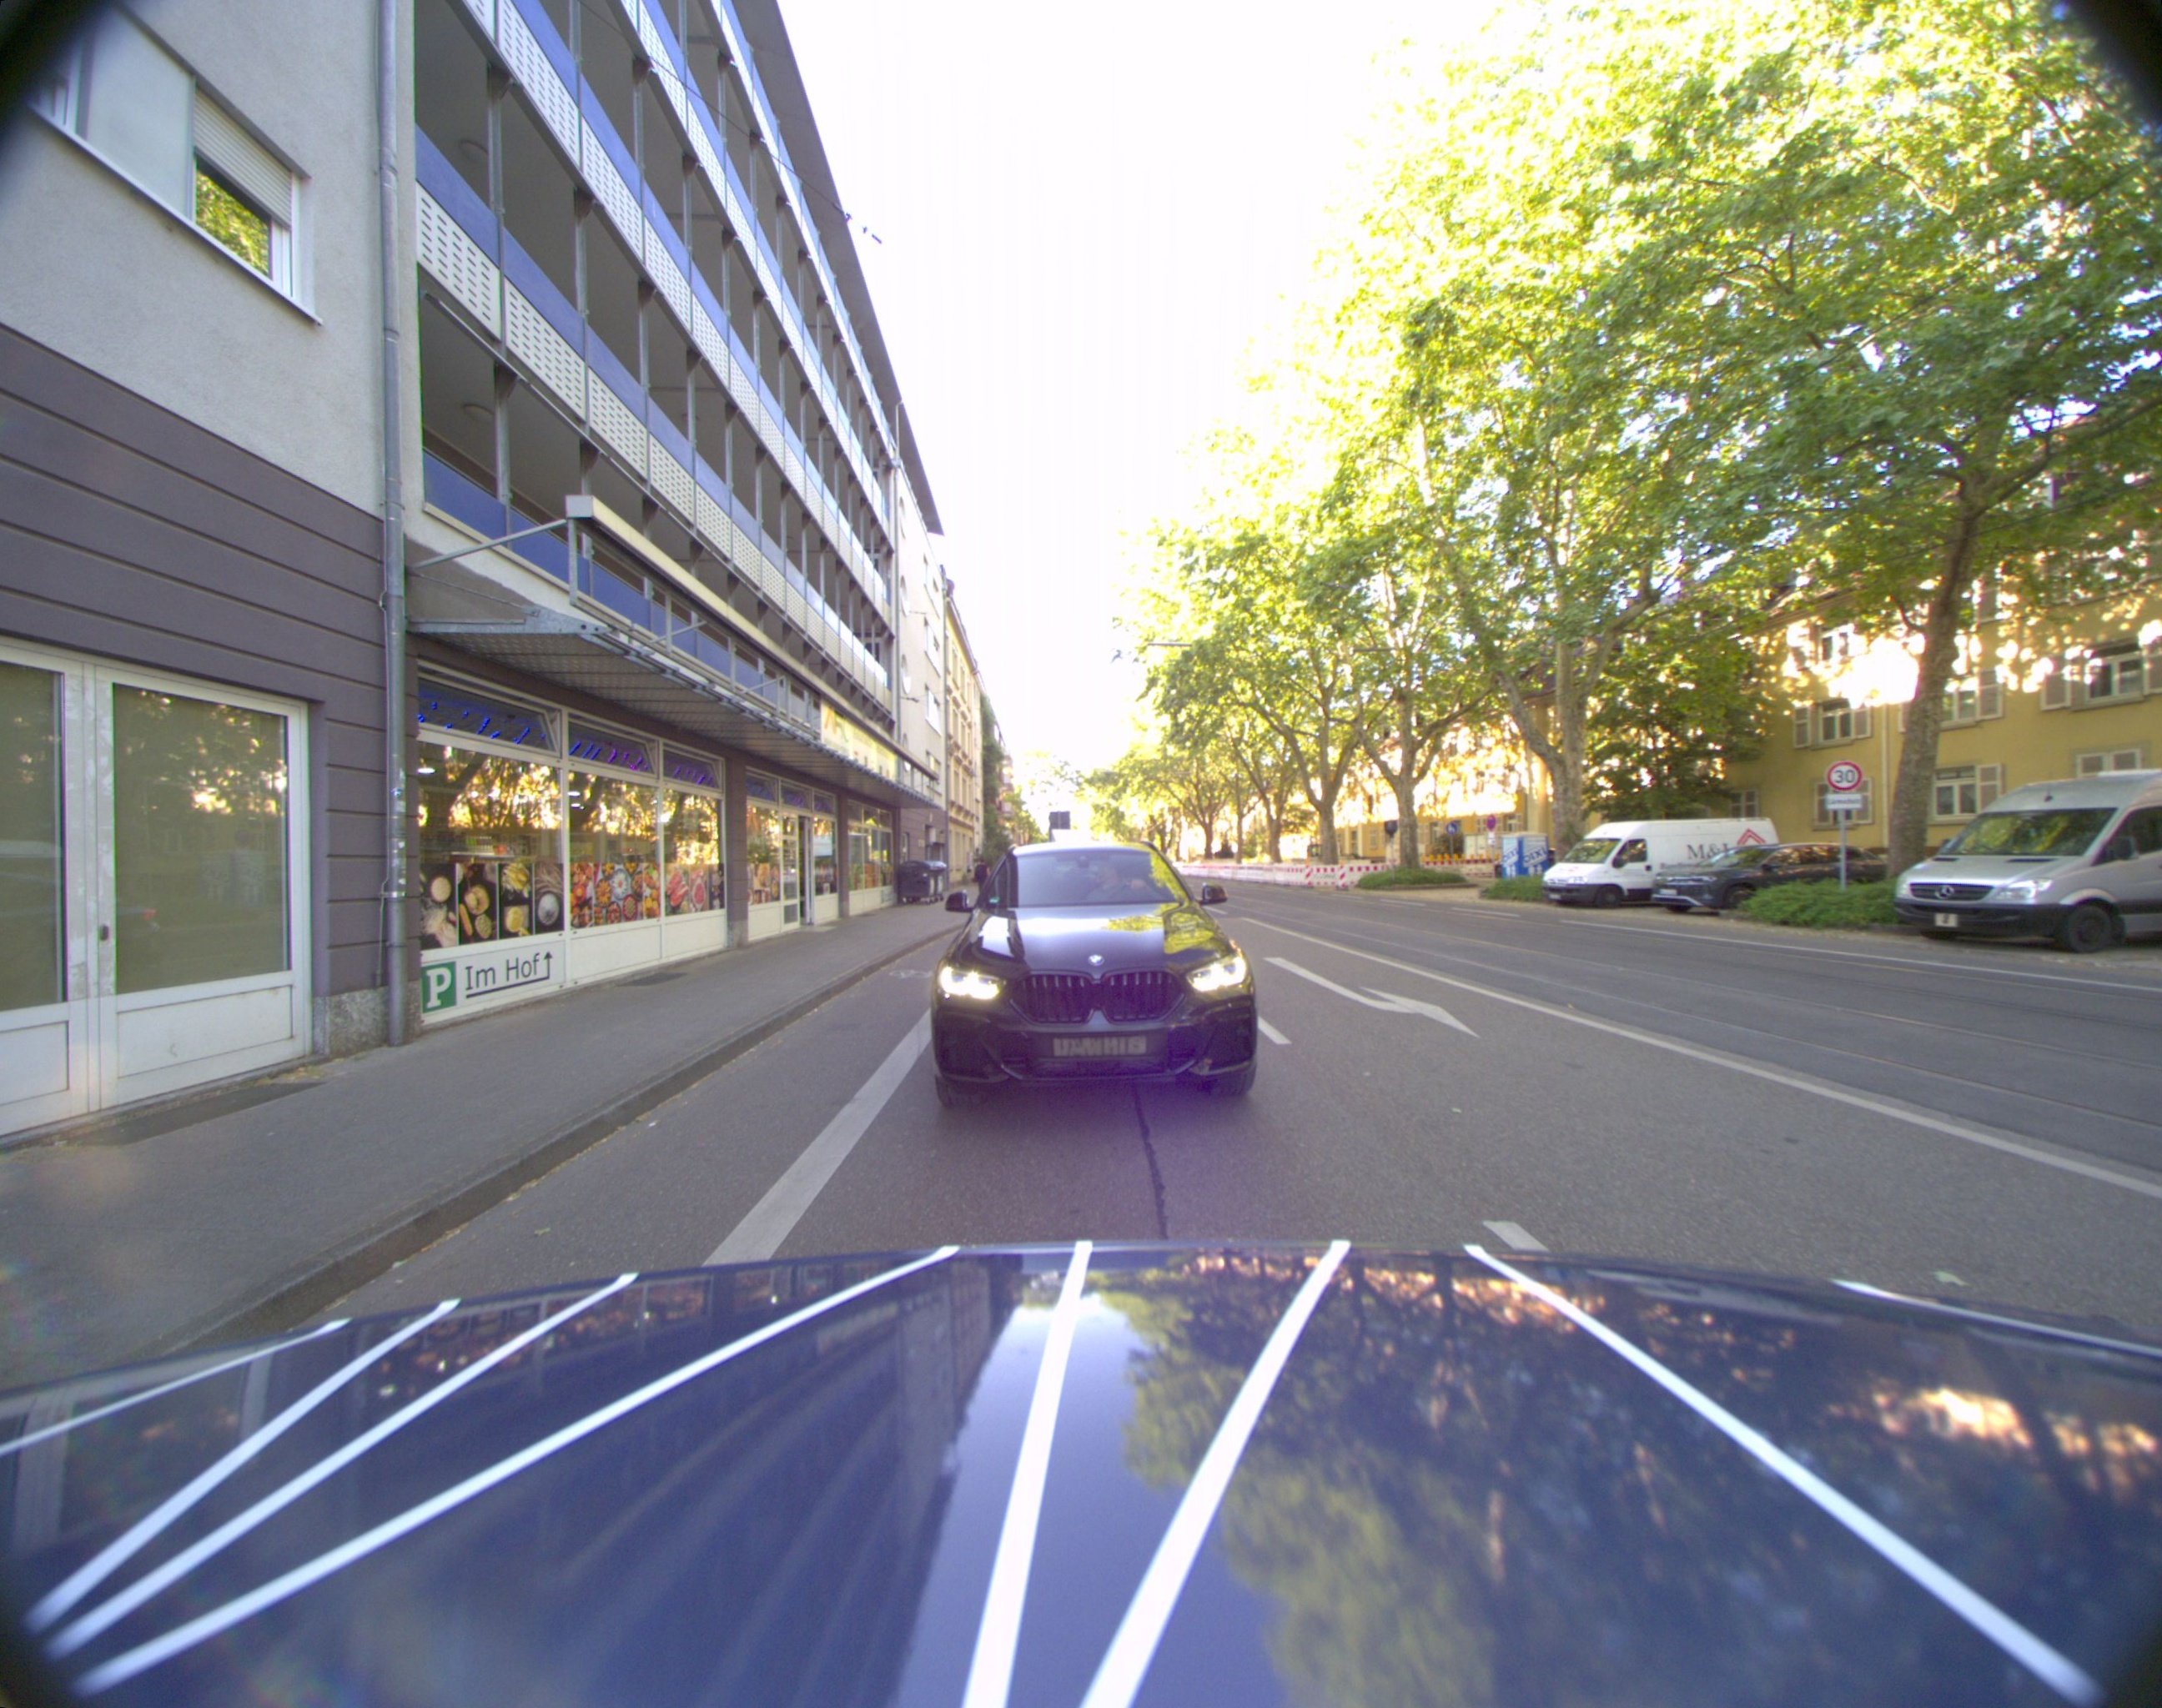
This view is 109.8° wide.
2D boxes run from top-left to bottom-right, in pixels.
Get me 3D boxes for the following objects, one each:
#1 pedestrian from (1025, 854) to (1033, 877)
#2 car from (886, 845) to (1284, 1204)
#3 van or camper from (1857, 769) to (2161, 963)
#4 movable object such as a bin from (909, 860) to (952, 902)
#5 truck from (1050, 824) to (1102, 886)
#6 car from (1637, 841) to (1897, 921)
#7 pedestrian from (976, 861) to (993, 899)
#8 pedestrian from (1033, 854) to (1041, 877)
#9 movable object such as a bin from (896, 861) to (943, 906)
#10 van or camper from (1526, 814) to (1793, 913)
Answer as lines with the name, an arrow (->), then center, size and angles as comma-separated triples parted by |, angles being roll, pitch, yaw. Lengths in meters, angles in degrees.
pedestrian -> -3.806, 0.863, 55.667 | 0.541, 1.662, 0.513 | -1, 0, 1
car -> 0.063, 0.838, 6.156 | 1.930, 1.742, 4.683 | -2, 1, 1
van or camper -> 16.000, 0.088, 11.671 | 5.931, 2.633, 2.156 | -2, 1, 0
movable object such as a bin -> -5.290, 0.927, 26.784 | 1.203, 1.402, 1.372 | -1, 0, 1
truck -> -0.368, 0.023, 41.155 | 2.344, 3.095, 5.210 | -2, 1, -4
car -> 15.988, 0.607, 17.867 | 4.540, 1.624, 1.693 | -2, 1, 1
pedestrian -> -3.617, 0.974, 28.609 | 0.541, 1.437, 0.630 | -1, 0, 1
pedestrian -> -3.188, 0.859, 55.398 | 0.541, 1.662, 0.630 | -1, 0, 1
movable object such as a bin -> -5.264, 0.948, 24.836 | 1.203, 1.402, 1.372 | -1, 0, 1
van or camper -> 15.866, 0.244, 21.077 | 5.763, 2.371, 2.156 | -2, 1, 0
